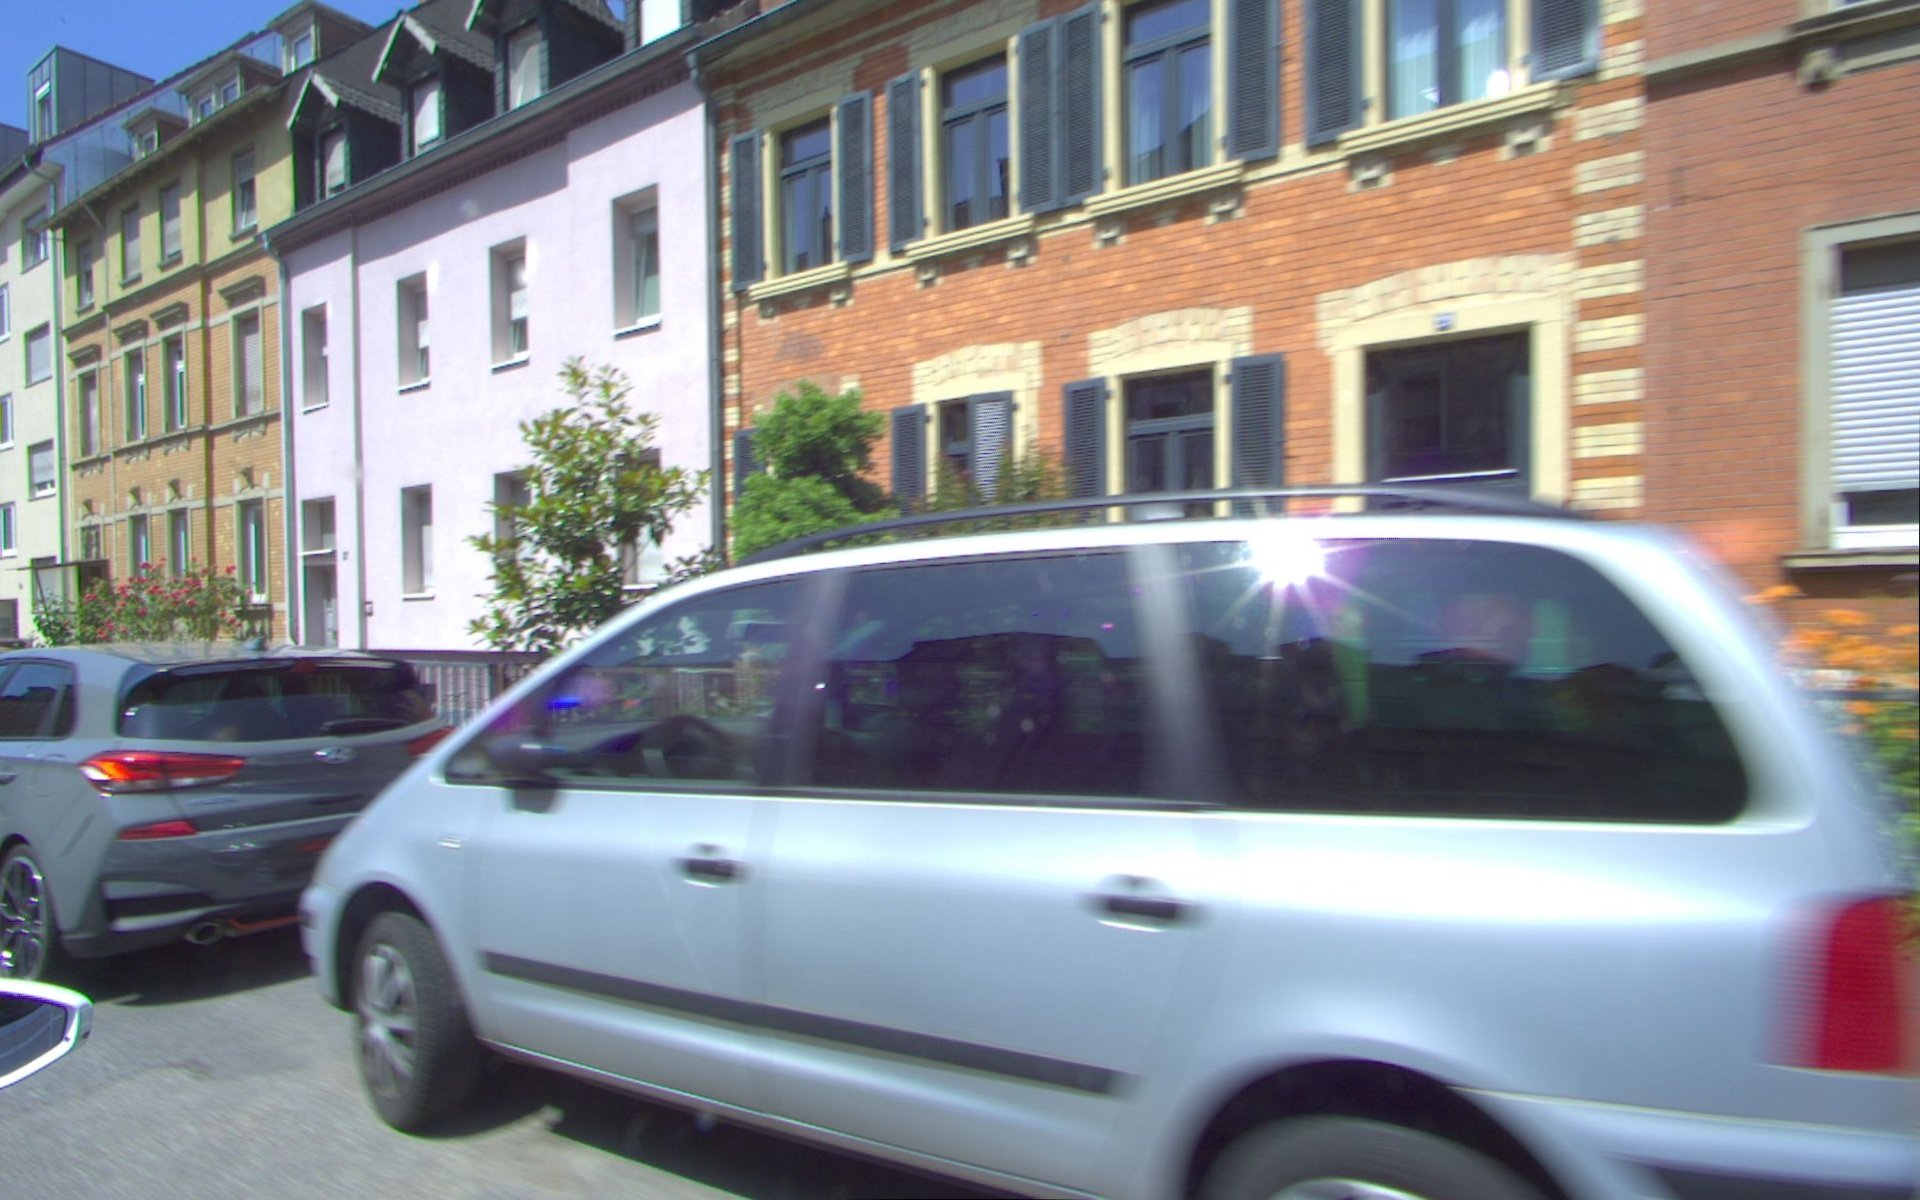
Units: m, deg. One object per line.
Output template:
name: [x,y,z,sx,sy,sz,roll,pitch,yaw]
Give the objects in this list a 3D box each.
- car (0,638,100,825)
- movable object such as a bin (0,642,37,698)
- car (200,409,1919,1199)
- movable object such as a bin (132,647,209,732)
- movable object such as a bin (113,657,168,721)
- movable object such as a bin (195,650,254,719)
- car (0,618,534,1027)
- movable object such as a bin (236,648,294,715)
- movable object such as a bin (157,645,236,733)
car: [-9.771,1.096,9.041,4.551,1.505,1.694,-1,-3,31]
movable object such as a bin: [-20.794,1.513,21.934,0.840,1.192,0.667,-1,-2,34]
car: [-0.114,0.710,3.111,4.547,1.770,1.860,-1,-2,28]
movable object such as a bin: [-10.798,1.206,13.700,0.674,1.097,0.650,-1,0,35]
movable object such as a bin: [-12.504,1.343,15.285,0.556,0.925,0.467,-1,0,30]
movable object such as a bin: [-11.880,1.345,16.174,0.658,1.063,0.558,-1,0,31]
car: [-4.569,0.898,5.575,4.245,1.505,1.859,-1,-3,30]
movable object such as a bin: [-11.590,1.348,16.700,0.658,1.063,0.558,-1,0,30]
movable object such as a bin: [-10.132,1.164,13.299,0.674,1.097,0.650,-1,0,35]
